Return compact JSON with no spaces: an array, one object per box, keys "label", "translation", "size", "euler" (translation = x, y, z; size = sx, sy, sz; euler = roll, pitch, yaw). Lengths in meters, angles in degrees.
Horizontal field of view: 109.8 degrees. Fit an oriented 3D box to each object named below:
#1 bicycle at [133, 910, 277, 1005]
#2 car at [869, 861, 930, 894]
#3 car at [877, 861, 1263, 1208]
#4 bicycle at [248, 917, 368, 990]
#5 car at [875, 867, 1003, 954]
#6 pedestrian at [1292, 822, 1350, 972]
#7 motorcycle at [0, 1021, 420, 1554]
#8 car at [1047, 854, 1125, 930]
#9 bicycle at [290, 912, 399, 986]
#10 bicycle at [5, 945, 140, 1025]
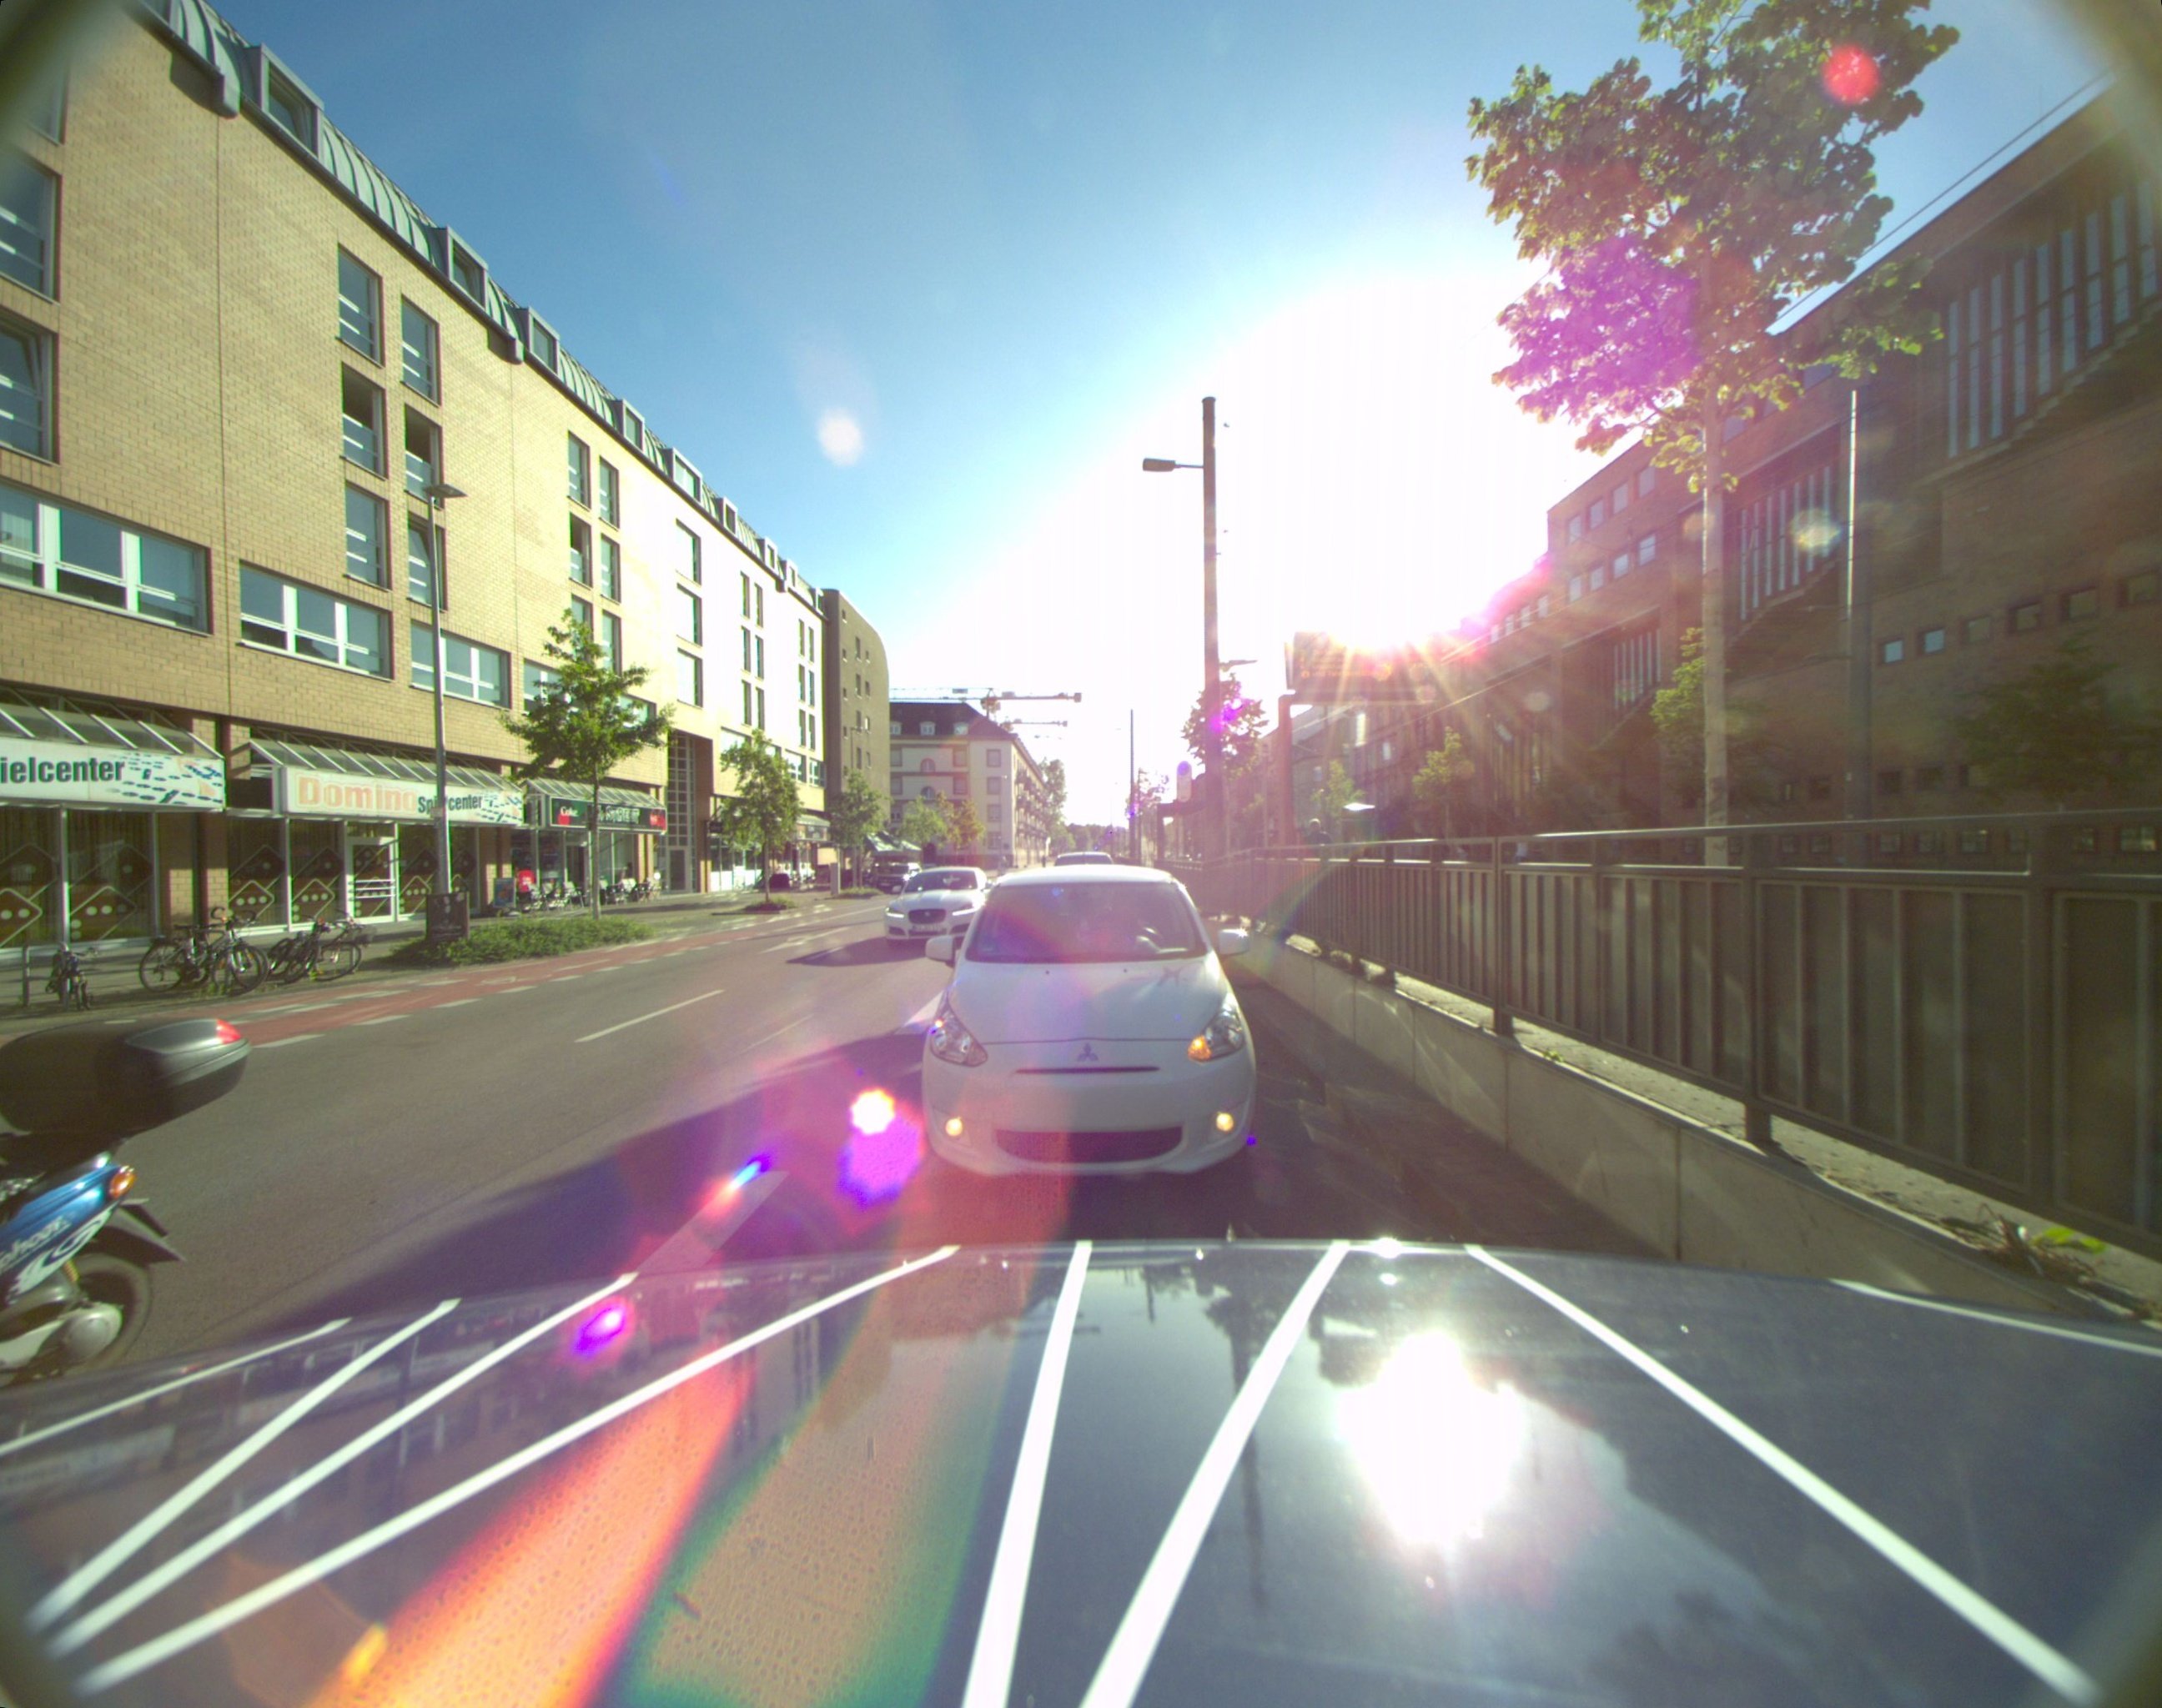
[{"label":"bicycle","translation":[-12.342,1.429,10.707],"size":[1.835,1.156,0.565],"euler":[1,2,15]},{"label":"car","translation":[-9.792,1.214,41.272],"size":[1.778,1.630,4.002],"euler":[2,0,9]},{"label":"car","translation":[-0.052,0.856,5.609],"size":[1.720,1.422,4.215],"euler":[-2,1,0]},{"label":"bicycle","translation":[-12.030,1.529,11.821],"size":[1.835,0.980,0.449],"euler":[1,2,15]},{"label":"car","translation":[-2.751,1.051,15.721],"size":[1.808,1.421,4.452],"euler":[-1,0,0]},{"label":"pedestrian","translation":[4.027,0.705,12.782],"size":[0.684,2.428,0.626],"euler":[-2,2,-2]},{"label":"motorcycle","translation":[-3.090,1.221,1.844],"size":[0.806,1.044,2.375],"euler":[-2,1,1]},{"label":"car","translation":[0.110,0.868,19.353],"size":[1.720,1.591,4.215],"euler":[-2,1,0]},{"label":"bicycle","translation":[-11.905,1.511,12.274],"size":[1.835,1.050,0.351],"euler":[1,2,15]},{"label":"bicycle","translation":[-12.736,1.633,9.592],"size":[1.772,0.827,0.366],"euler":[1,2,15]}]
